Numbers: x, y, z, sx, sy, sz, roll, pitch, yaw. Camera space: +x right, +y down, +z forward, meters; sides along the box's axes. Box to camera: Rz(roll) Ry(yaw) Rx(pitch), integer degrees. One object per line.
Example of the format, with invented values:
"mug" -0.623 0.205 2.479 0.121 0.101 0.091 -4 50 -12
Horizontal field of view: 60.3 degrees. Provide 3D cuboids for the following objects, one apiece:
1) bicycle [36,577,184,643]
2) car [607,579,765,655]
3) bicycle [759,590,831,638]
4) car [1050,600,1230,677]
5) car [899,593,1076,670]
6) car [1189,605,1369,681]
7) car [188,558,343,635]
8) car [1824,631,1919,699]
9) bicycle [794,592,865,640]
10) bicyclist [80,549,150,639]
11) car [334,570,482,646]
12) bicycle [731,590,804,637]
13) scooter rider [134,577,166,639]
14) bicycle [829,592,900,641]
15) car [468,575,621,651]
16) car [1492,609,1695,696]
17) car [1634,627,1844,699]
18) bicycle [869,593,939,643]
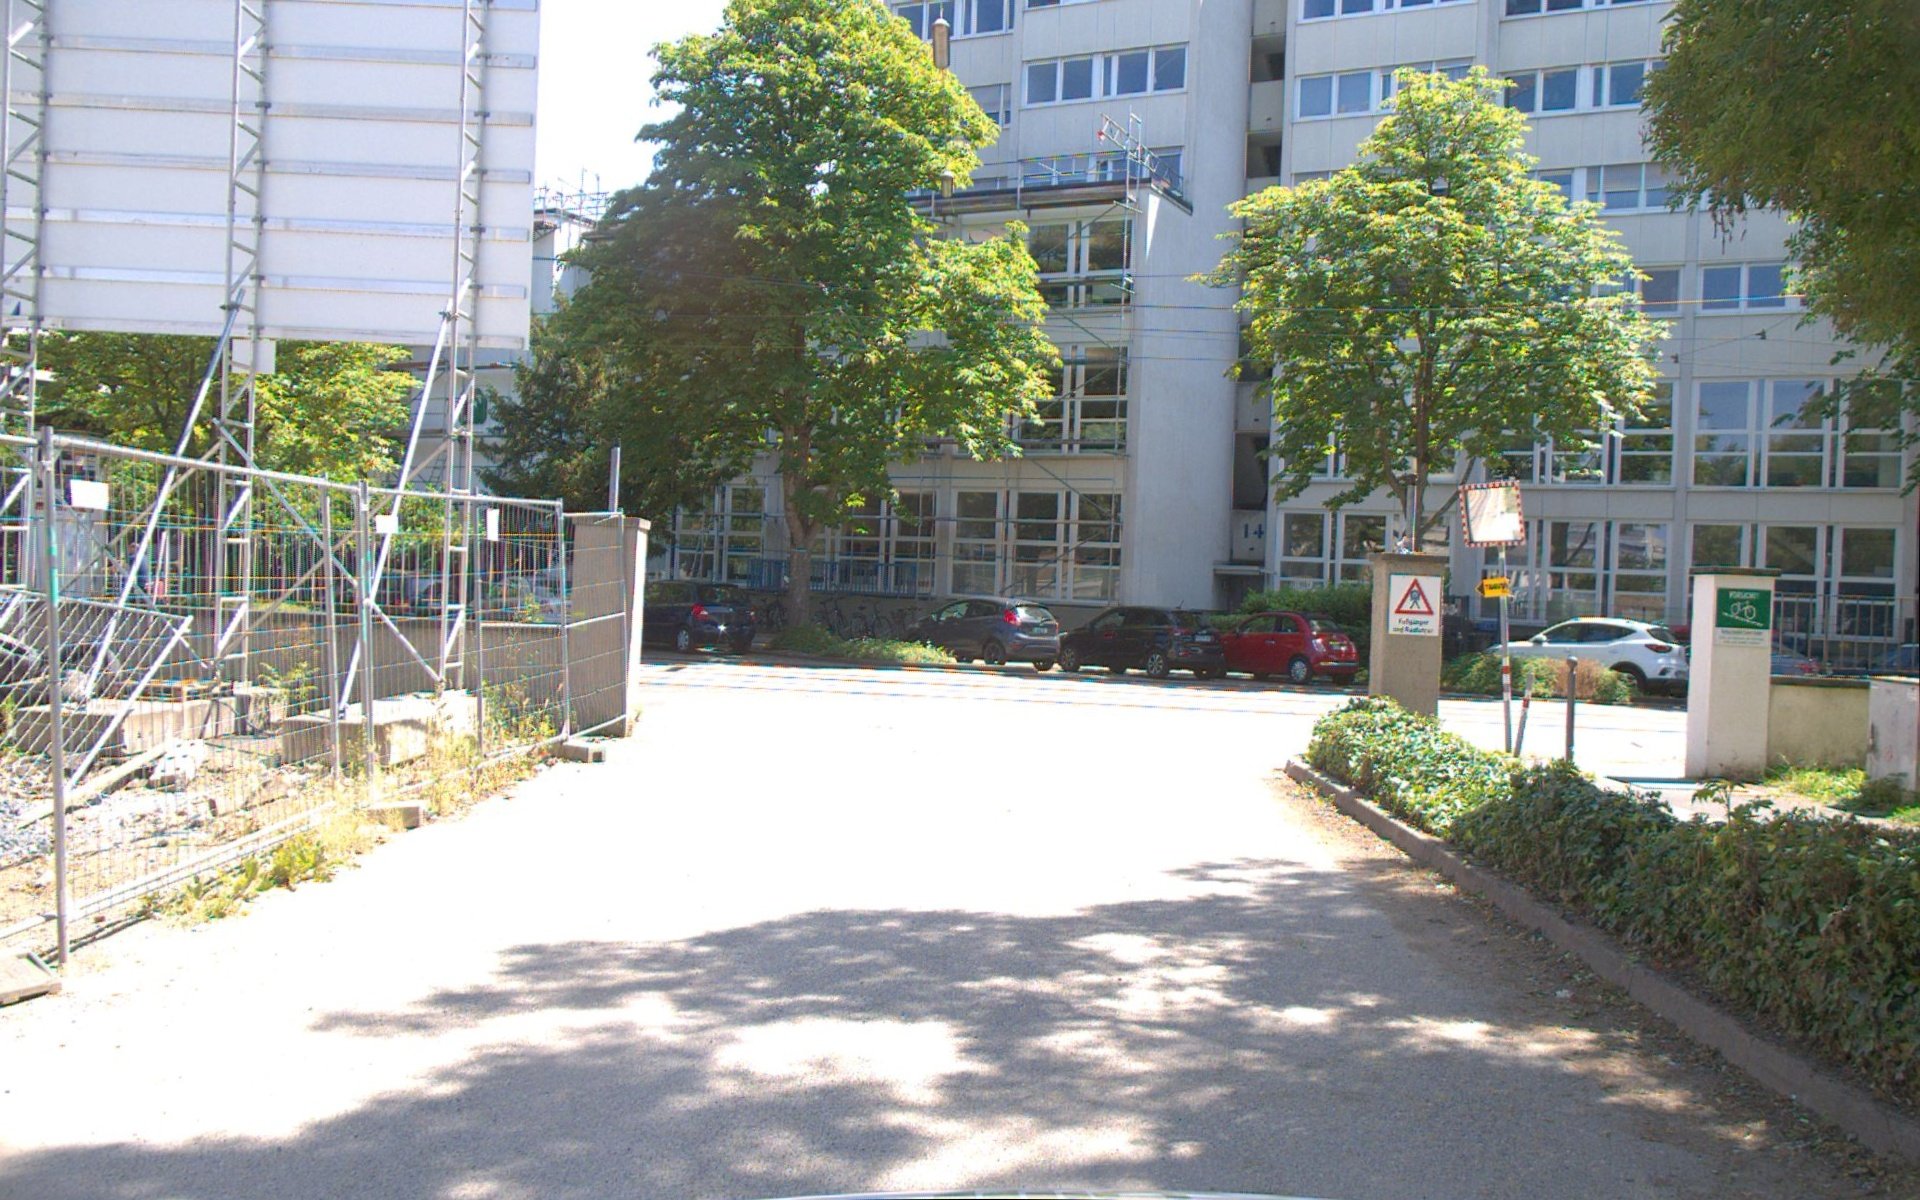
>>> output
"bicycle" -16.341 0.190 31.842 2.384 1.172 0.785 2 0 -4
"car" -5.869 0.343 35.200 1.624 1.489 3.621 2 0 -42
"bicycle" -4.274 0.364 42.990 0.765 1.178 2.383 2 0 24
"car" 3.784 0.786 35.122 1.600 1.470 3.618 2 0 -44
"car" 0.564 0.638 35.362 3.614 1.489 1.634 2 0 43
"car" 6.764 0.887 35.304 1.598 1.462 3.550 2 0 -41
"car" -14.377 -0.088 34.168 3.615 1.489 1.627 2 0 44
"car" 20.208 1.369 34.340 1.597 1.328 3.691 2 0 -40
"bicycle" -3.335 0.403 42.628 0.765 1.178 2.383 2 0 24
"bicyclist" -16.258 -0.115 31.844 0.880 1.695 0.858 1 0 -3
"car" -11.673 0.145 34.856 1.624 1.489 3.621 2 0 -42
"bicycle" -5.024 0.348 43.320 0.765 1.178 2.383 2 0 24
"scooter rider" -15.198 0.150 31.039 0.408 1.154 0.359 1 0 -3
"bicycle" -2.427 0.415 42.244 0.765 1.208 2.431 2 0 24
"car" -8.881 0.251 35.209 1.624 1.489 3.621 2 0 -42
"car" 13.338 1.065 34.937 3.680 1.648 1.602 2 0 43
"car" 16.387 1.293 34.917 1.598 1.303 3.690 2 0 -41
"bicycle" -1.392 0.447 41.841 0.765 1.208 2.431 2 0 24
